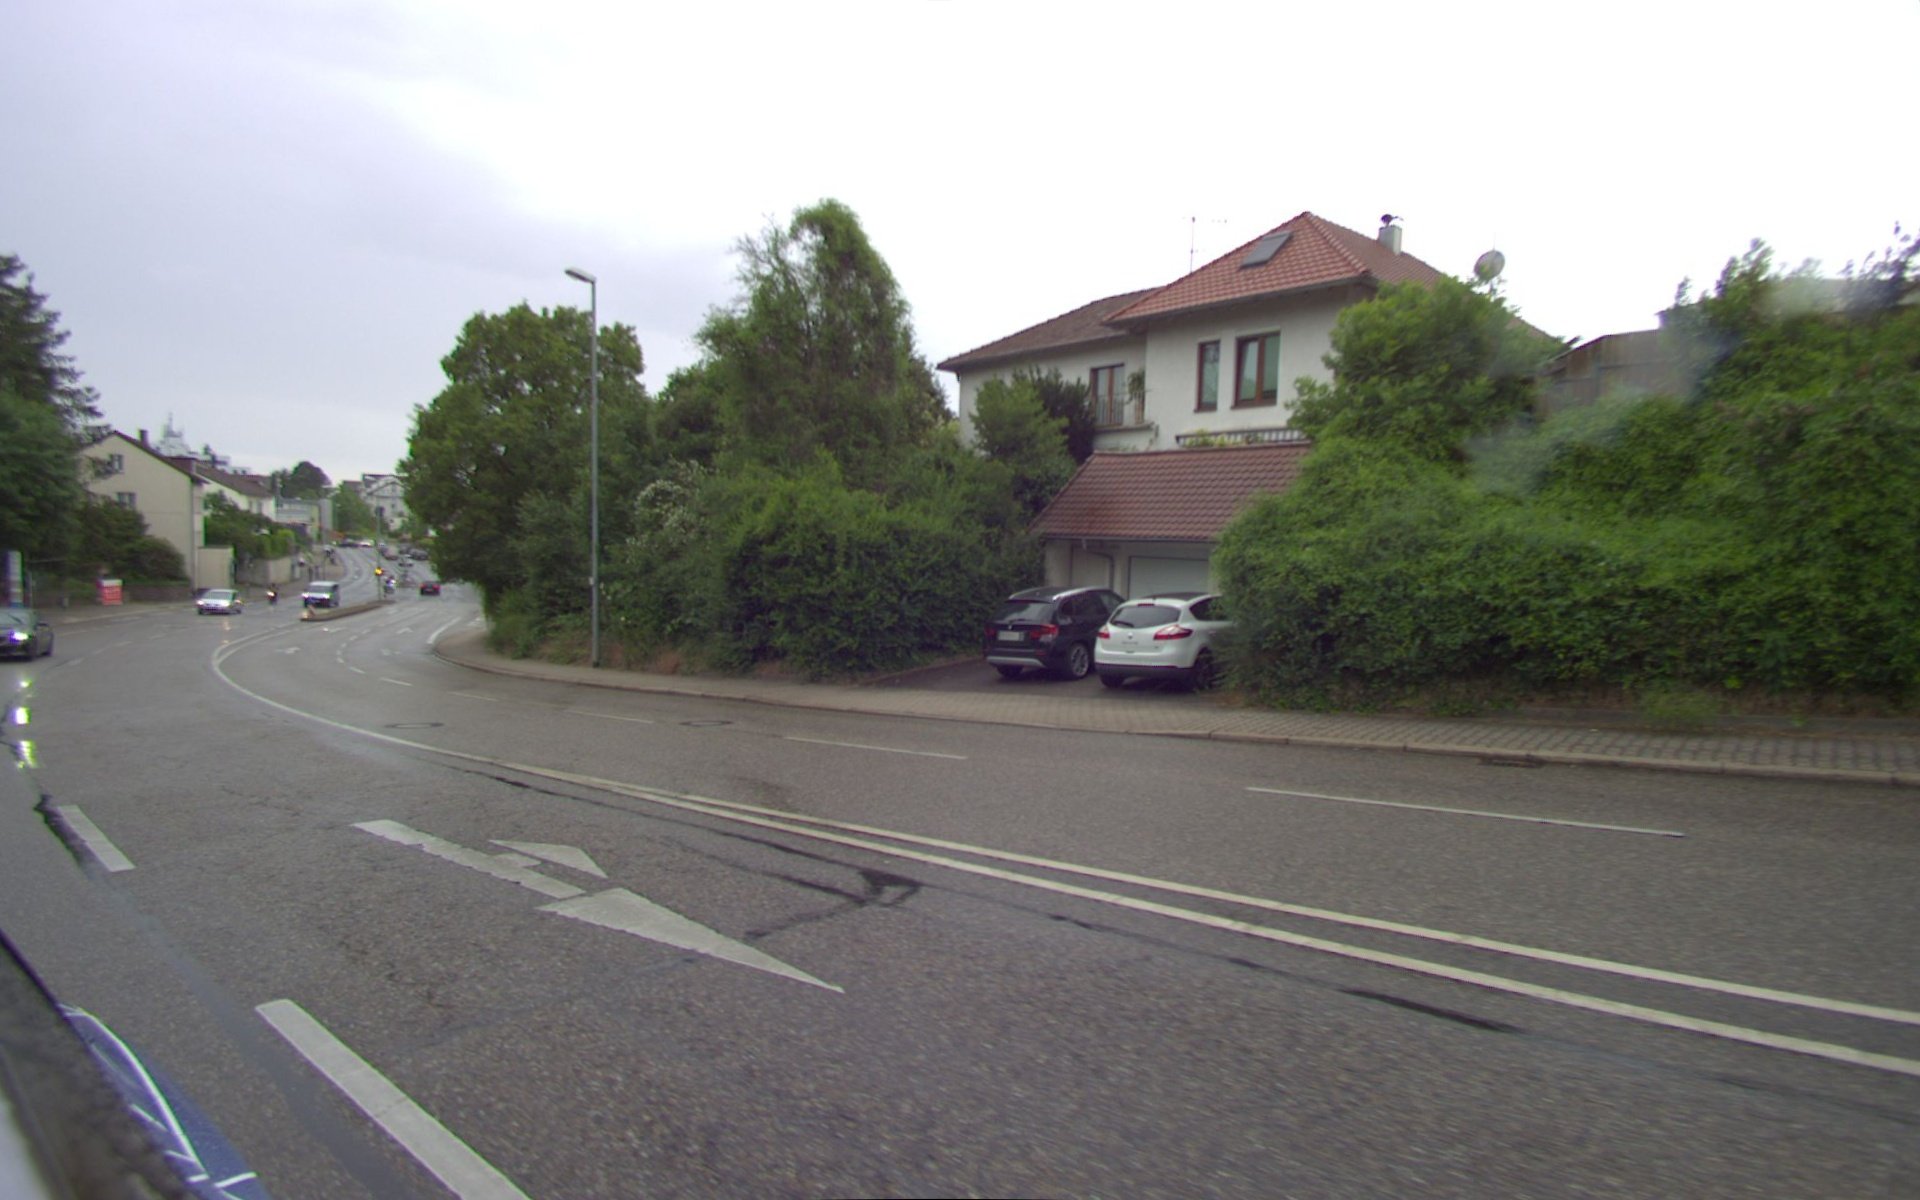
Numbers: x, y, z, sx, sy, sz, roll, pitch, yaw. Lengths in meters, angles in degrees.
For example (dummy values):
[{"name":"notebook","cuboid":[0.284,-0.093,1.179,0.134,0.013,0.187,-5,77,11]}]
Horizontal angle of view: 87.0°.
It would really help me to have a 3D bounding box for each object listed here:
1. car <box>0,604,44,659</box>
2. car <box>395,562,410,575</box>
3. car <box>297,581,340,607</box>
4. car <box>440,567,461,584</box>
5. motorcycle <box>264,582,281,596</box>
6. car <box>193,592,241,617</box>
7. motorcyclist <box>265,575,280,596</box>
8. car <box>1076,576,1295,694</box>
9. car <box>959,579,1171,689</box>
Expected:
[{"name":"car","cuboid":[-28.004,0.893,29.396,1.844,1.517,4.205,0,-1,-39]},{"name":"car","cuboid":[-84.557,-4.808,153.563,1.822,1.798,4.012,0,0,-32]},{"name":"car","cuboid":[-48.789,-0.441,77.020,1.748,1.788,4.012,2,-2,-18]},{"name":"car","cuboid":[-66.941,-3.189,132.976,1.966,2.029,4.011,0,0,-33]},{"name":"motorcycle","cuboid":[-53.408,-0.826,78.627,0.681,1.061,1.753,2,-1,-21]},{"name":"car","cuboid":[-46.859,0.334,63.925,1.787,1.450,4.013,2,-2,-27]},{"name":"motorcyclist","cuboid":[-53.445,-1.119,78.689,0.754,1.655,0.676,1,-1,-21]},{"name":"car","cuboid":[3.814,0.489,16.711,1.811,1.451,3.860,-1,4,42]},{"name":"car","cuboid":[2.057,0.553,18.964,1.999,1.547,3.947,-1,4,41]}]
